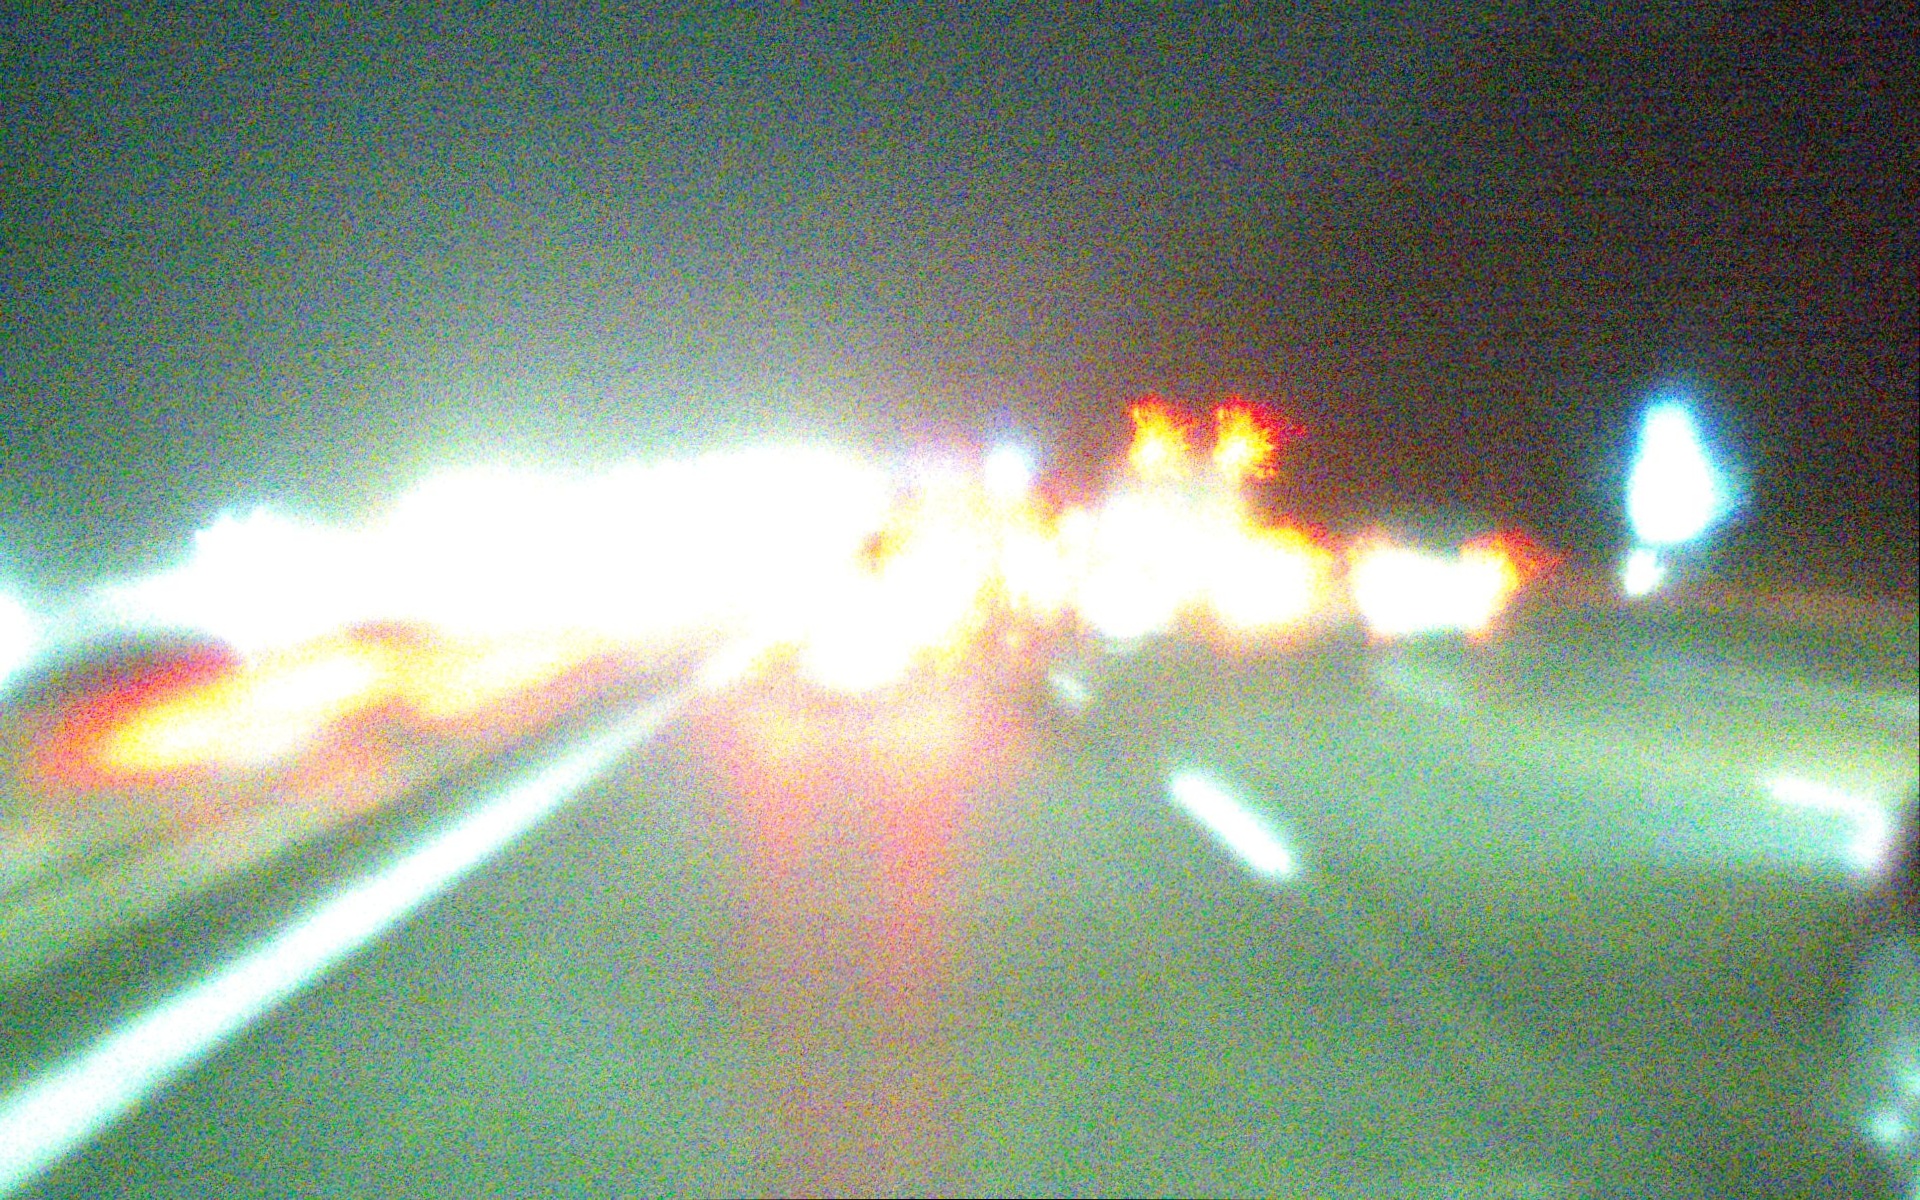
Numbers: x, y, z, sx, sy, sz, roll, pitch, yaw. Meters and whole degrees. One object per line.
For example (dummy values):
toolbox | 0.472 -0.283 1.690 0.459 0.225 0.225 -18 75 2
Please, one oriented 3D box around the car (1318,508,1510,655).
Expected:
car | 6.559 -0.330 50.246 2.046 1.967 5.407 -2 2 0

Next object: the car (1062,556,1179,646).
car | 2.596 -0.013 56.344 1.612 1.407 3.792 0 1 -2

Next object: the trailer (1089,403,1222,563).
trailer | 5.392 -3.206 96.731 2.803 4.198 12.098 0 1 -1

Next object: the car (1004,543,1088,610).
car | 2.092 -0.598 84.507 1.884 1.583 4.000 0 1 -1

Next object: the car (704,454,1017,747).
car | -1.003 -0.070 33.643 2.709 2.525 5.832 -2 1 -2

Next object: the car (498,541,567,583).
car | -15.619 -1.416 125.732 1.993 1.410 4.590 -2 1 -1

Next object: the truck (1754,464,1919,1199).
truck | 2.758 0.614 5.371 1.843 1.690 4.855 1 1 -1

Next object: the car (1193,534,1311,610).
car | 6.096 -0.620 72.288 1.894 1.481 4.963 1 1 -2
